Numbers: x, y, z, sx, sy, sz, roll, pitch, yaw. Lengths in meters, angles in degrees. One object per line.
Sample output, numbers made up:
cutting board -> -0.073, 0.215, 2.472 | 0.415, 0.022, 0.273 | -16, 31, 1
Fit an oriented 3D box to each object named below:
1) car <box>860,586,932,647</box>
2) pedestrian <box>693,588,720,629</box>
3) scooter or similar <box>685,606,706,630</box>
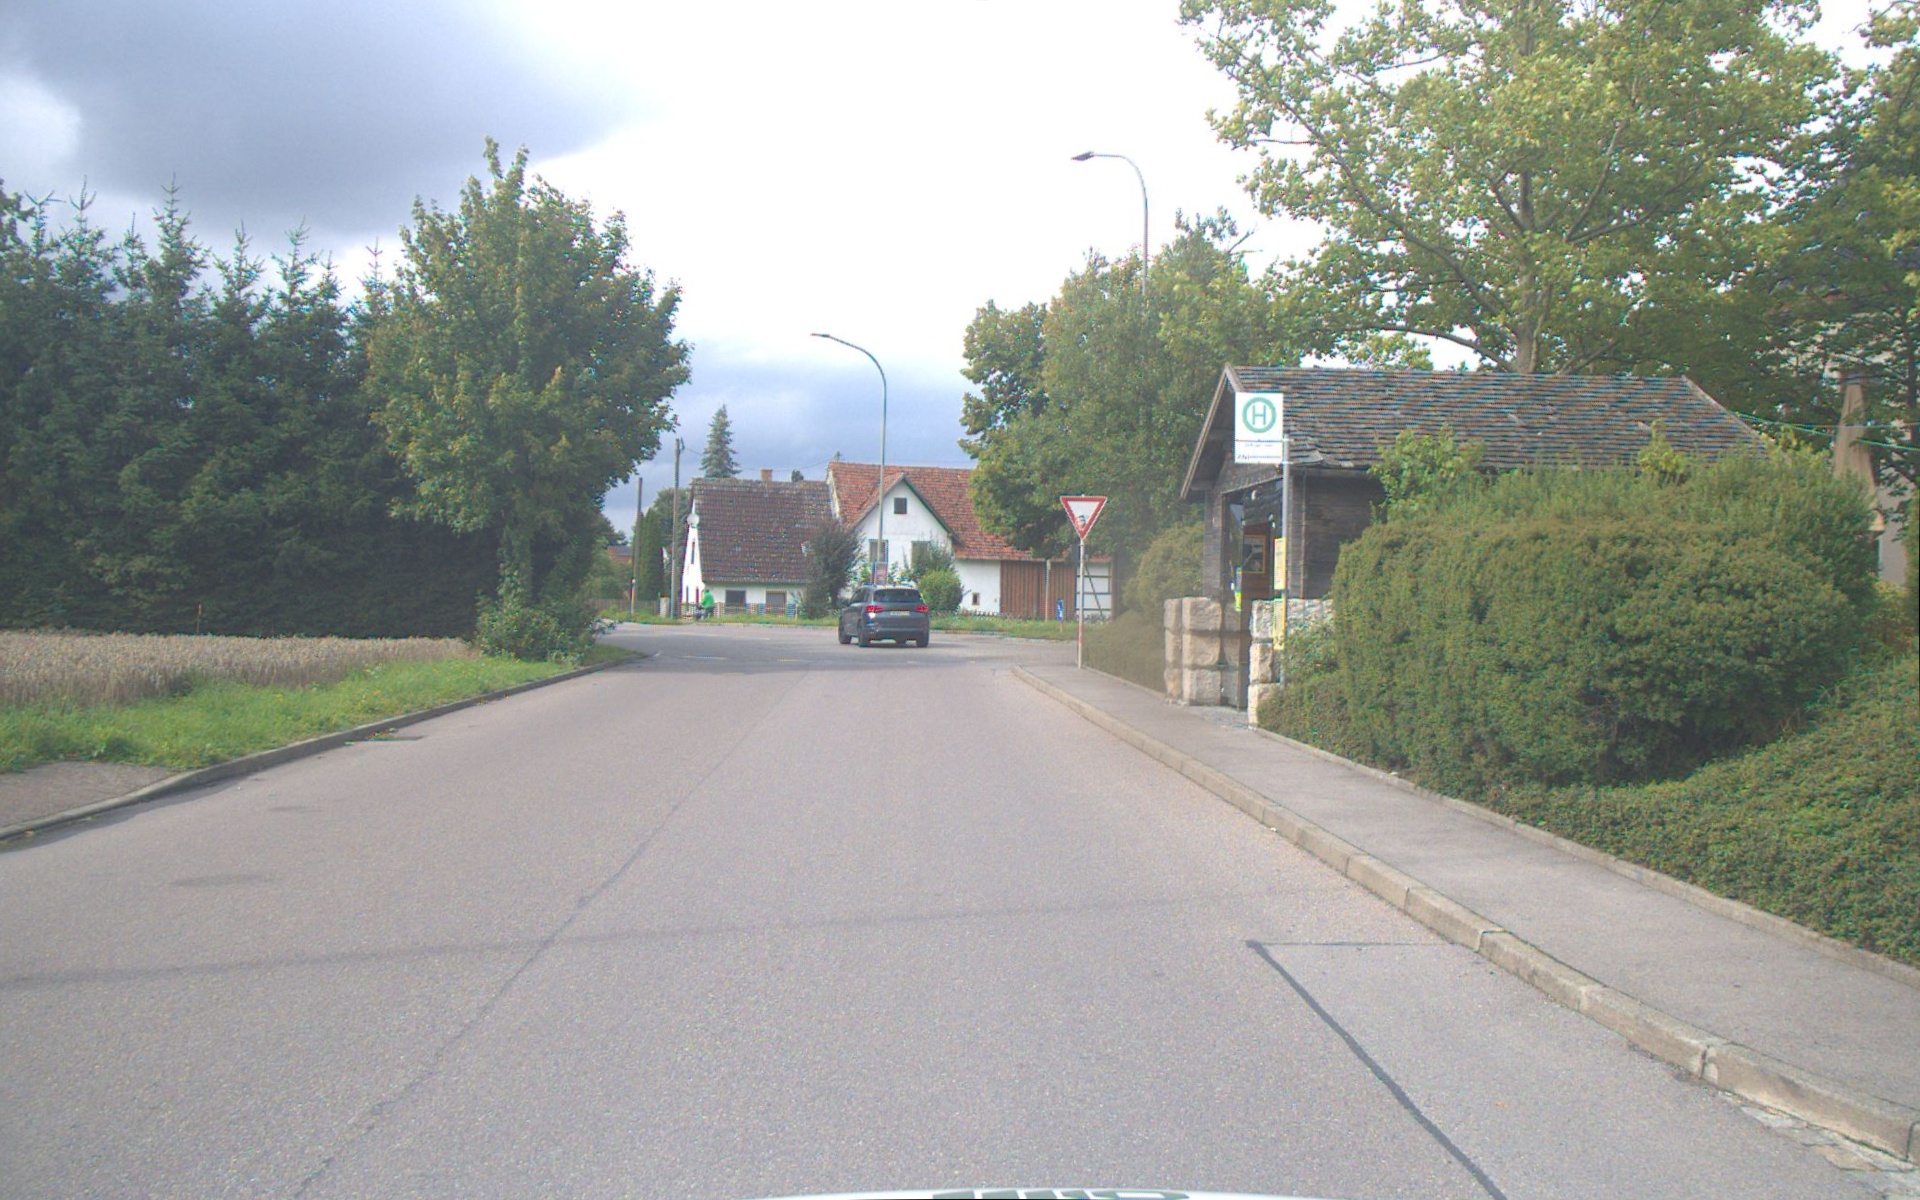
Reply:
car -> -1.706, 0.392, 43.051 | 1.763, 1.488, 3.659 | 1, 0, -4
pedestrian -> -10.796, 0.353, 70.472 | 0.782, 1.694, 0.703 | 6, -3, -35
scooter or similar -> -11.331, 0.778, 70.907 | 0.625, 0.964, 0.615 | 6, -3, -35
